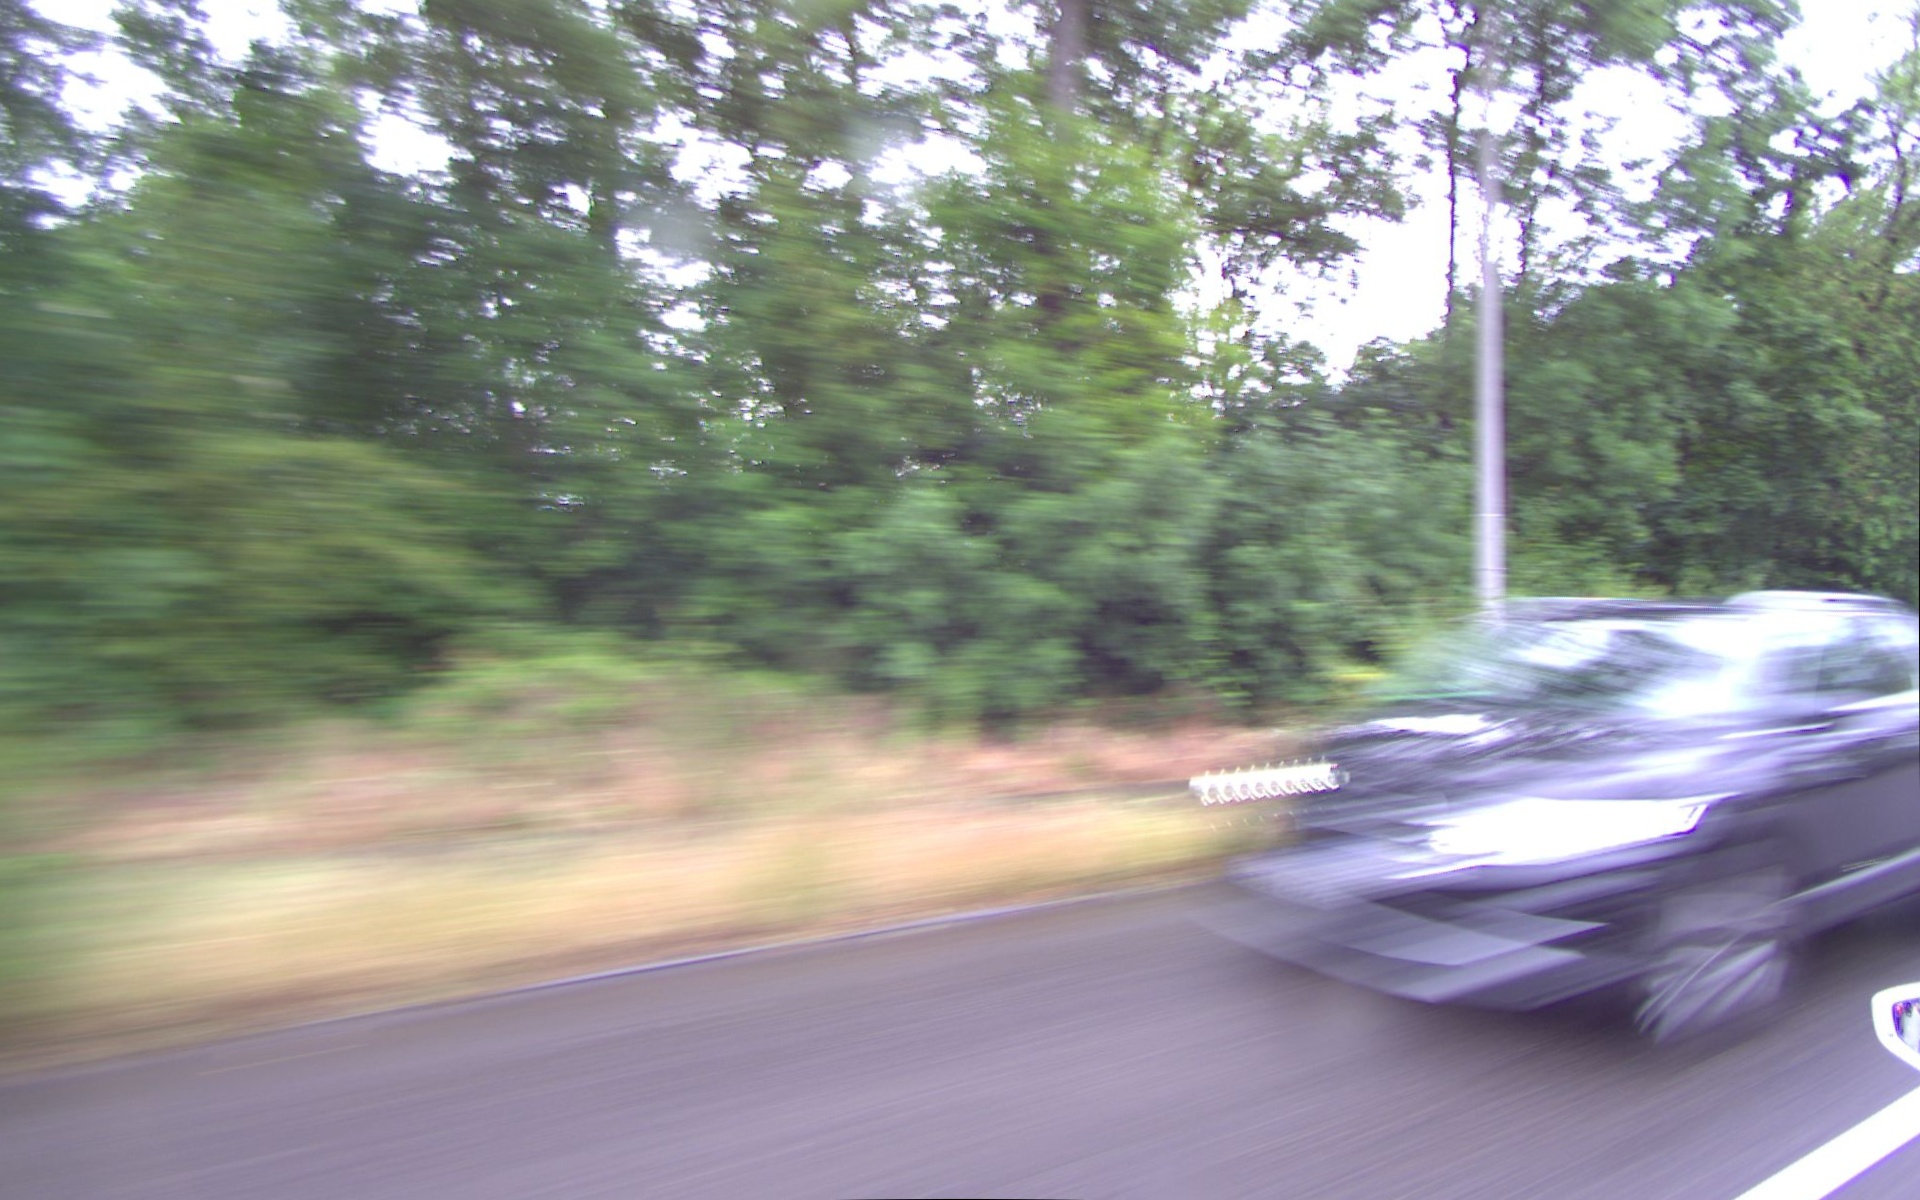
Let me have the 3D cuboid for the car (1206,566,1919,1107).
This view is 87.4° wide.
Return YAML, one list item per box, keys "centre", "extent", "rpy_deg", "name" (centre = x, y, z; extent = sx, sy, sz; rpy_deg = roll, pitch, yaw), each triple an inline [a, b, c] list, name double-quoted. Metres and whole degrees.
- centre: [3.318, 0.737, 4.827]
  extent: [4.105, 1.637, 1.715]
  rpy_deg: [0, -1, -30]
  name: "car"
